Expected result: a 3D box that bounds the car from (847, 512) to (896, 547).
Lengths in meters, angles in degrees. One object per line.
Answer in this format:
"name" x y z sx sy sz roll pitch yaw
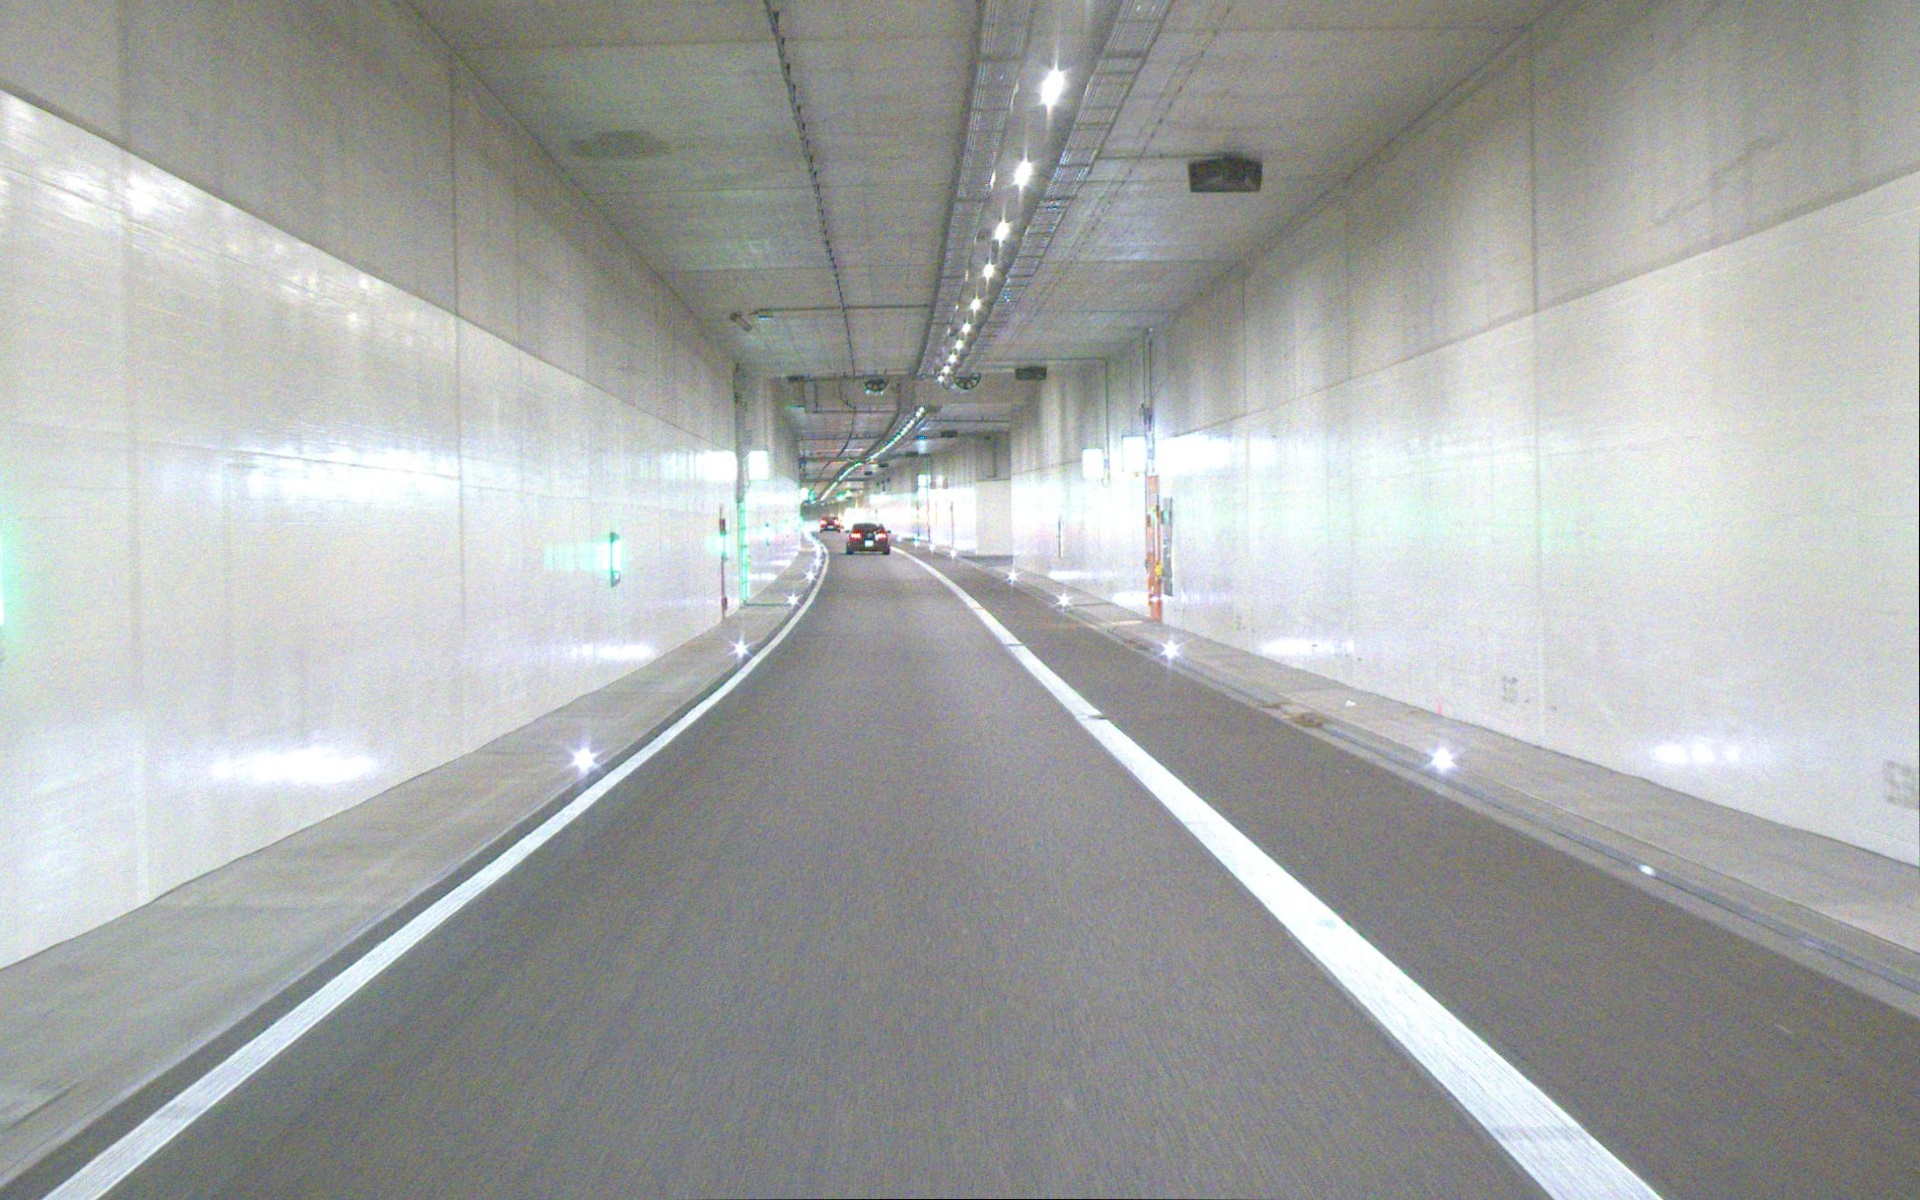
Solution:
"car" -3.864 -3.071 149.592 1.993 1.415 4.001 -3 2 -3
